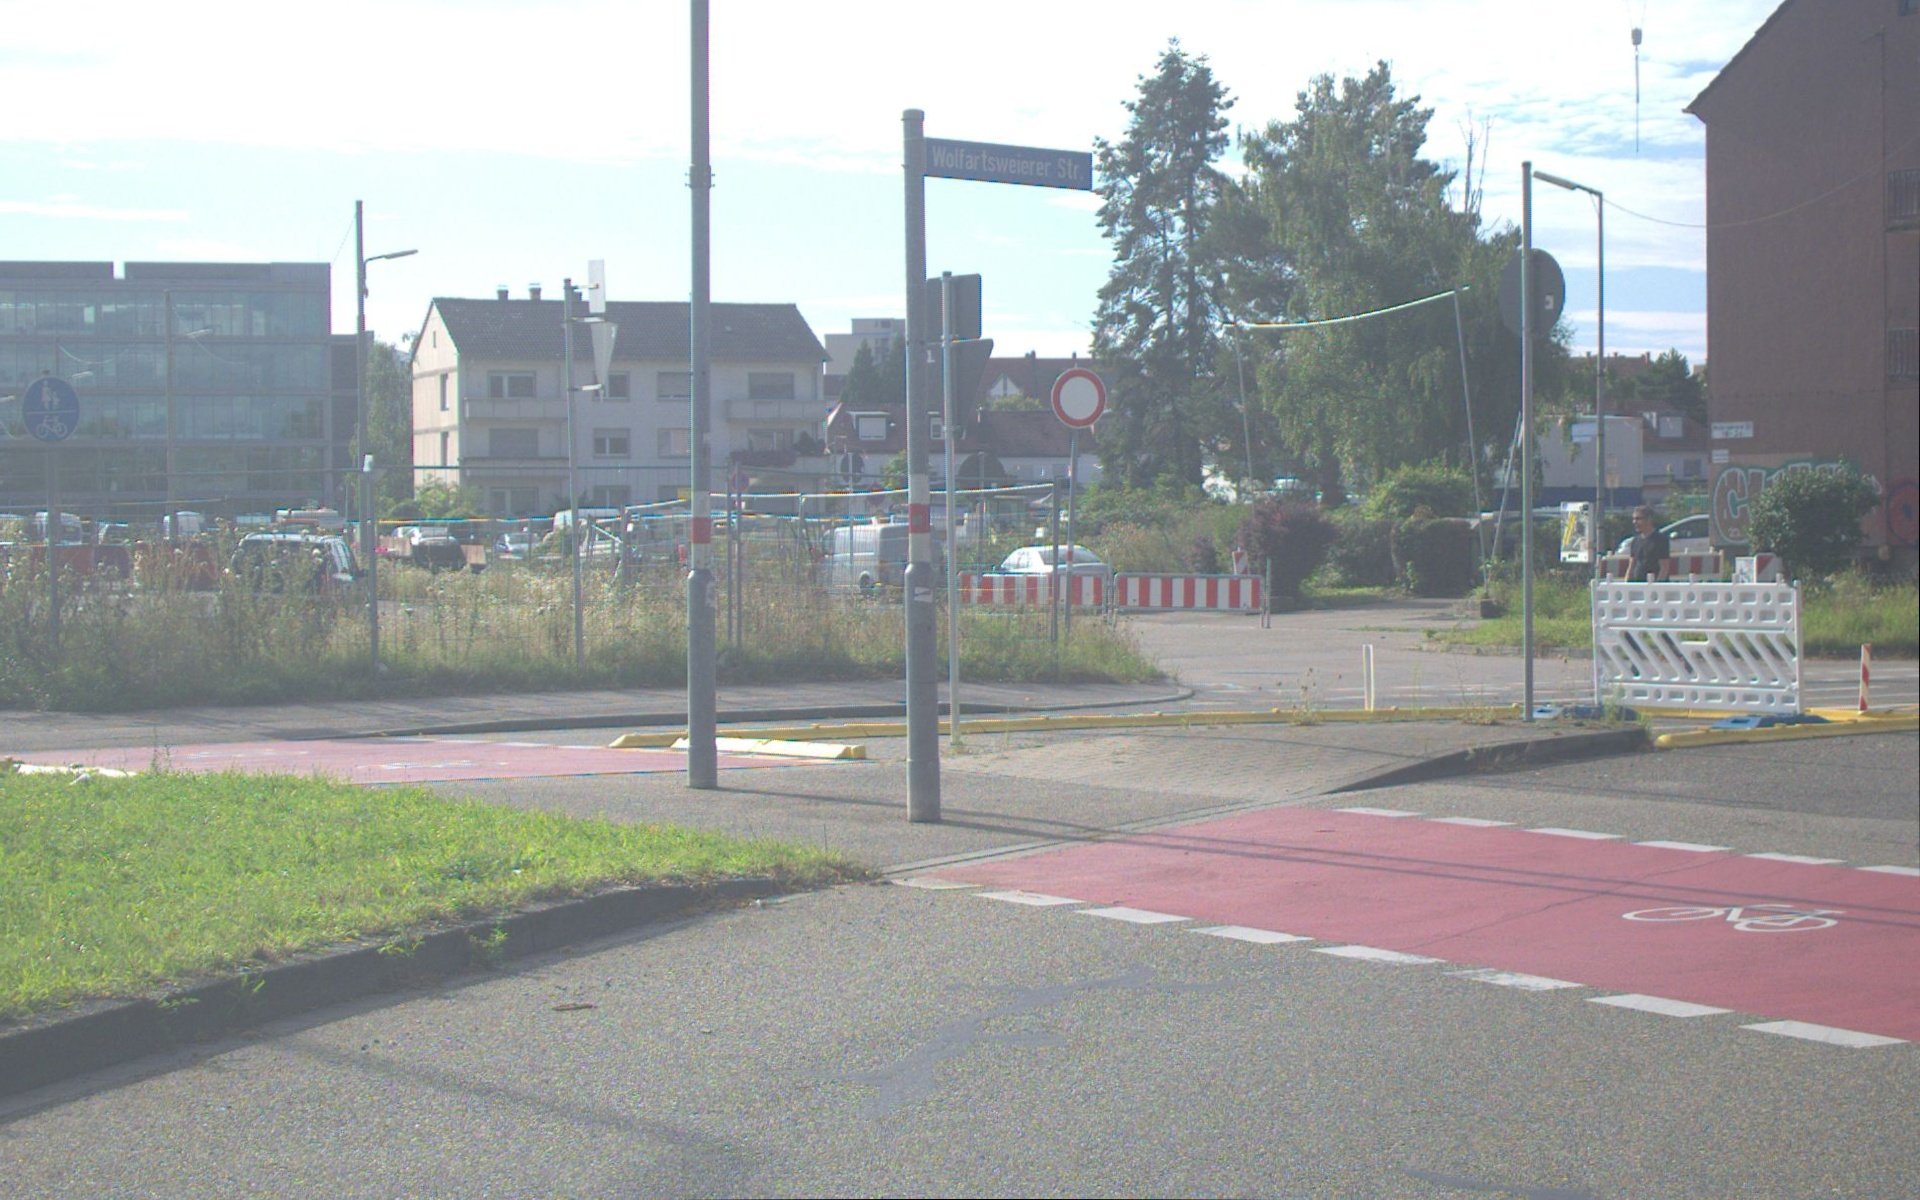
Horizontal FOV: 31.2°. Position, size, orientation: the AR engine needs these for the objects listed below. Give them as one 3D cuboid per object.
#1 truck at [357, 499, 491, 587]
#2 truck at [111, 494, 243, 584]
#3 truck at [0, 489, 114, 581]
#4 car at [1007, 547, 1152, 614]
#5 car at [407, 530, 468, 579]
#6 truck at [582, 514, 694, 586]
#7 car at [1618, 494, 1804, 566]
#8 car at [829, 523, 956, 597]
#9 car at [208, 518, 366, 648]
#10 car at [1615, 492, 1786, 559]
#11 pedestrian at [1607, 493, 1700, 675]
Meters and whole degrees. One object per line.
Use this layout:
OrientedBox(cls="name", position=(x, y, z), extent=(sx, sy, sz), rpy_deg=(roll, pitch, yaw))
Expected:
OrientedBox(cls="truck", position=(-14.712, -1.585, 94.115), extent=(2.285, 2.320, 5.640), rpy_deg=(-1, 1, -23))
OrientedBox(cls="truck", position=(-21.051, -1.650, 92.203), extent=(2.327, 2.320, 6.454), rpy_deg=(-1, 1, -23))
OrientedBox(cls="truck", position=(-24.053, -1.734, 90.726), extent=(2.327, 2.320, 6.454), rpy_deg=(-1, 1, -23))
OrientedBox(cls="car", position=(2.592, -0.450, 75.489), extent=(1.715, 1.388, 4.001), rpy_deg=(-1, 1, -22))
OrientedBox(cls="car", position=(-20.248, -1.770, 133.047), extent=(1.993, 1.853, 4.001), rpy_deg=(-1, 1, -13))
OrientedBox(cls="truck", position=(-9.903, -1.553, 105.416), extent=(1.974, 2.164, 5.407), rpy_deg=(-1, 1, -22))
OrientedBox(cls="car", position=(17.184, -1.610, 78.649), extent=(3.990, 1.612, 1.772), rpy_deg=(0, 1, 19))
OrientedBox(cls="car", position=(-1.712, -1.018, 85.891), extent=(1.879, 1.809, 4.001), rpy_deg=(-1, 1, -22))
OrientedBox(cls="car", position=(-9.709, -0.283, 49.841), extent=(1.879, 1.809, 4.001), rpy_deg=(0, 1, -6))
OrientedBox(cls="car", position=(18.149, -1.832, 84.384), extent=(3.988, 1.612, 1.773), rpy_deg=(0, 1, 8))
OrientedBox(cls="pedestrian", position=(7.235, -0.176, 35.867), extent=(0.668, 1.864, 0.833), rpy_deg=(1, 1, 36))
